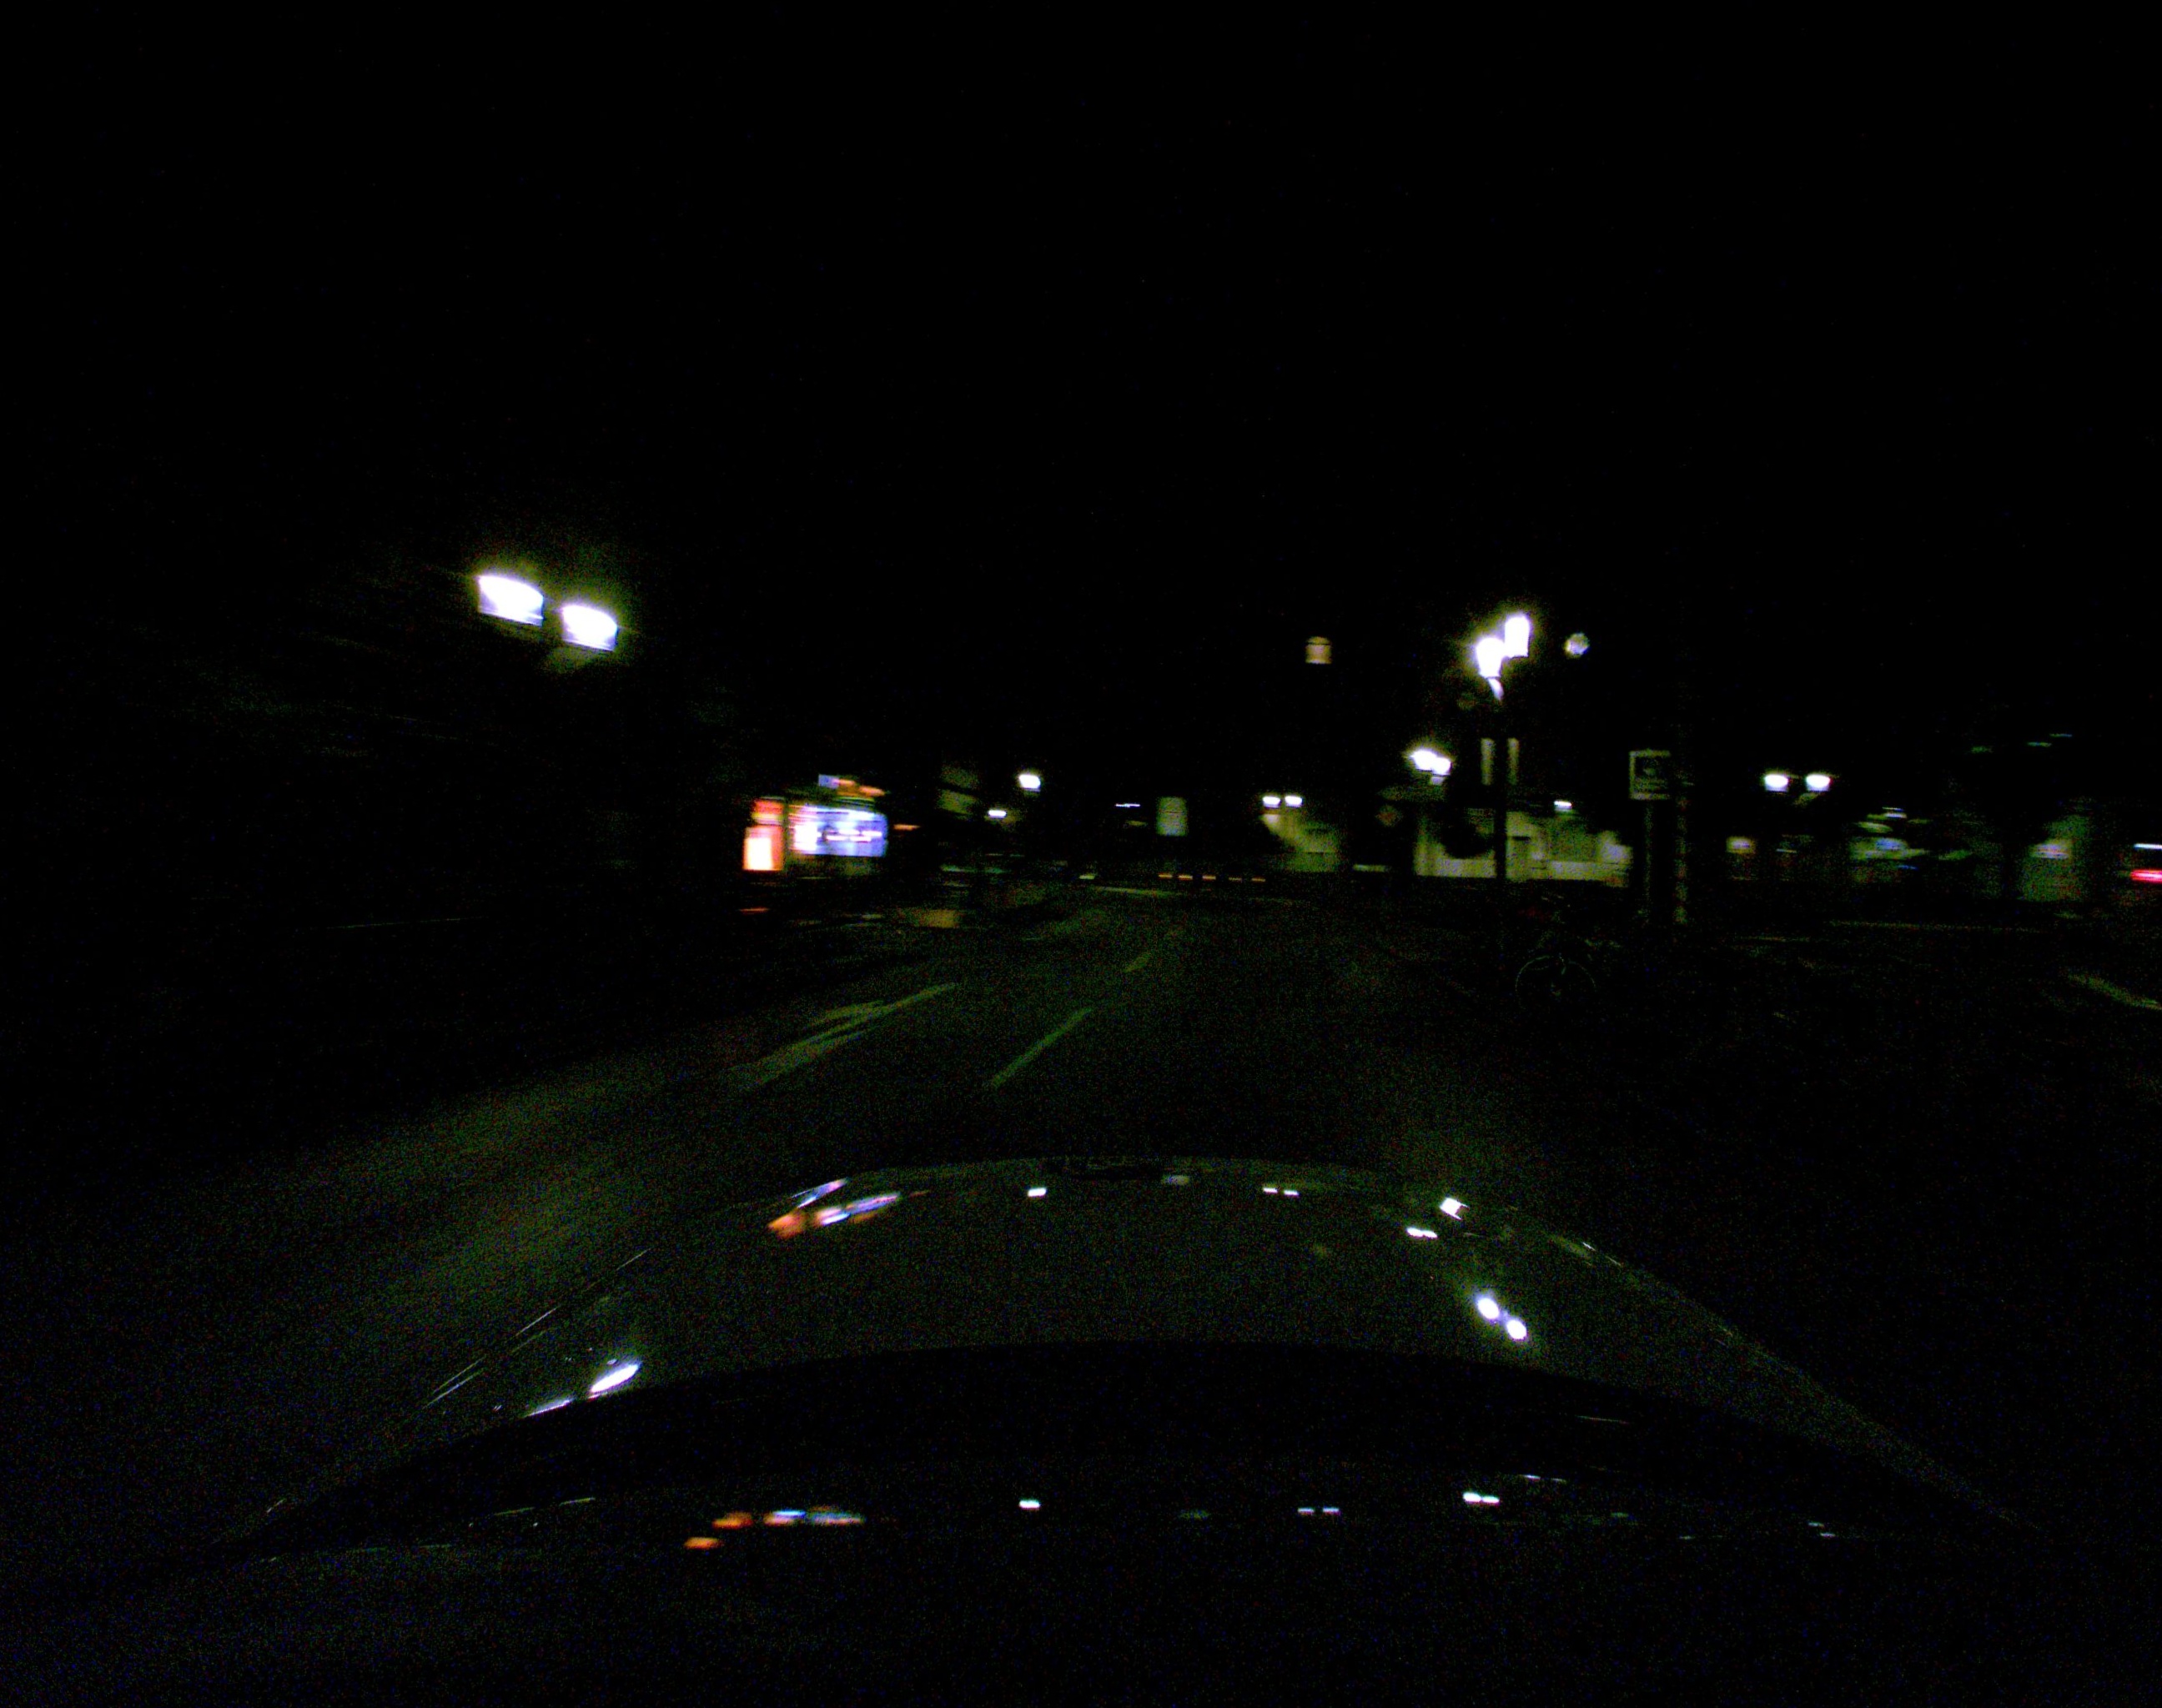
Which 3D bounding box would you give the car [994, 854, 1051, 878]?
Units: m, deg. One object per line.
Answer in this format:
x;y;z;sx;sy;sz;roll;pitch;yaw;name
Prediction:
-3.901;0.767;53.765;1.745;1.501;4.420;1;0;-35;car

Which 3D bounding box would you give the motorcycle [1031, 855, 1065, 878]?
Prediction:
-2.093;0.801;51.601;2.071;1.406;0.913;0;1;-43;motorcycle

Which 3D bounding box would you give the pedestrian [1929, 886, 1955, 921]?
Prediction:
32.873;1.883;31.099;0.462;1.299;0.517;1;-1;13;pedestrian

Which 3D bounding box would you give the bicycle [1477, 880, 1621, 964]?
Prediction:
6.961;0.998;12.175;1.762;1.151;0.583;1;0;8;bicycle

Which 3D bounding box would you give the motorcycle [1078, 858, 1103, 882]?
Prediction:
0.566;0.896;47.071;0.754;1.353;1.954;1;0;21;motorcycle

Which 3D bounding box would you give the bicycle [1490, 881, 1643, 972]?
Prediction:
6.817;0.999;11.514;1.759;1.151;0.584;1;0;15;bicycle

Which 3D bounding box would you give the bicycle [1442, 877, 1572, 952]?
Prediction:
7.102;0.995;13.667;1.772;1.151;0.762;1;0;8;bicycle

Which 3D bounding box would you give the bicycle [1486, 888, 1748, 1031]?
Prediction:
4.796;0.918;7.406;1.854;1.134;0.727;1;-1;8;bicycle

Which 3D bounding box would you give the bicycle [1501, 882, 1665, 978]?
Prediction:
6.661;0.983;10.894;1.759;1.151;0.584;1;0;14;bicycle

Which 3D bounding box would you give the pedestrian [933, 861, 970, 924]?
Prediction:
-2.914;0.862;18.356;0.672;1.378;0.577;1;-1;6;pedestrian

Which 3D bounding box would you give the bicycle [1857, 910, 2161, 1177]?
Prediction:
5.094;0.901;4.013;1.758;1.141;0.689;1;-1;9;bicycle

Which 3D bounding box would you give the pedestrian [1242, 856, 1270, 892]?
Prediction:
8.172;0.949;38.060;0.954;1.631;0.814;1;-1;38;pedestrian

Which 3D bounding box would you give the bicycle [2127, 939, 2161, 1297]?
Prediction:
4.254;0.873;2.192;1.645;1.141;0.830;1;-1;9;bicycle

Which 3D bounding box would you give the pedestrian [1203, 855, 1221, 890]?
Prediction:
6.378;0.893;39.756;0.510;1.709;0.698;1;0;-33;pedestrian

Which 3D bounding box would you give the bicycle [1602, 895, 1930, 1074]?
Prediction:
4.950;0.913;5.985;1.778;1.134;0.631;1;-1;8;bicycle

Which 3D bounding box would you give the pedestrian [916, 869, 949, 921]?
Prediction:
-3.452;0.954;18.970;0.572;1.164;0.679;1;-1;6;pedestrian

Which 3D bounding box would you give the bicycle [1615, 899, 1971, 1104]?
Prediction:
4.521;0.901;5.284;1.644;1.134;0.644;1;-1;9;bicycle

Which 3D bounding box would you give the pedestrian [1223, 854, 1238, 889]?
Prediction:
7.528;0.887;40.952;0.480;1.709;0.565;1;0;-33;pedestrian

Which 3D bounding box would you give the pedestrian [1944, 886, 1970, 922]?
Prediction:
33.335;1.897;30.988;0.462;1.299;0.517;1;-1;13;pedestrian

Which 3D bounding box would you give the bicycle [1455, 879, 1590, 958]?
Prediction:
6.952;0.997;12.884;1.762;1.151;0.615;1;0;8;bicycle
